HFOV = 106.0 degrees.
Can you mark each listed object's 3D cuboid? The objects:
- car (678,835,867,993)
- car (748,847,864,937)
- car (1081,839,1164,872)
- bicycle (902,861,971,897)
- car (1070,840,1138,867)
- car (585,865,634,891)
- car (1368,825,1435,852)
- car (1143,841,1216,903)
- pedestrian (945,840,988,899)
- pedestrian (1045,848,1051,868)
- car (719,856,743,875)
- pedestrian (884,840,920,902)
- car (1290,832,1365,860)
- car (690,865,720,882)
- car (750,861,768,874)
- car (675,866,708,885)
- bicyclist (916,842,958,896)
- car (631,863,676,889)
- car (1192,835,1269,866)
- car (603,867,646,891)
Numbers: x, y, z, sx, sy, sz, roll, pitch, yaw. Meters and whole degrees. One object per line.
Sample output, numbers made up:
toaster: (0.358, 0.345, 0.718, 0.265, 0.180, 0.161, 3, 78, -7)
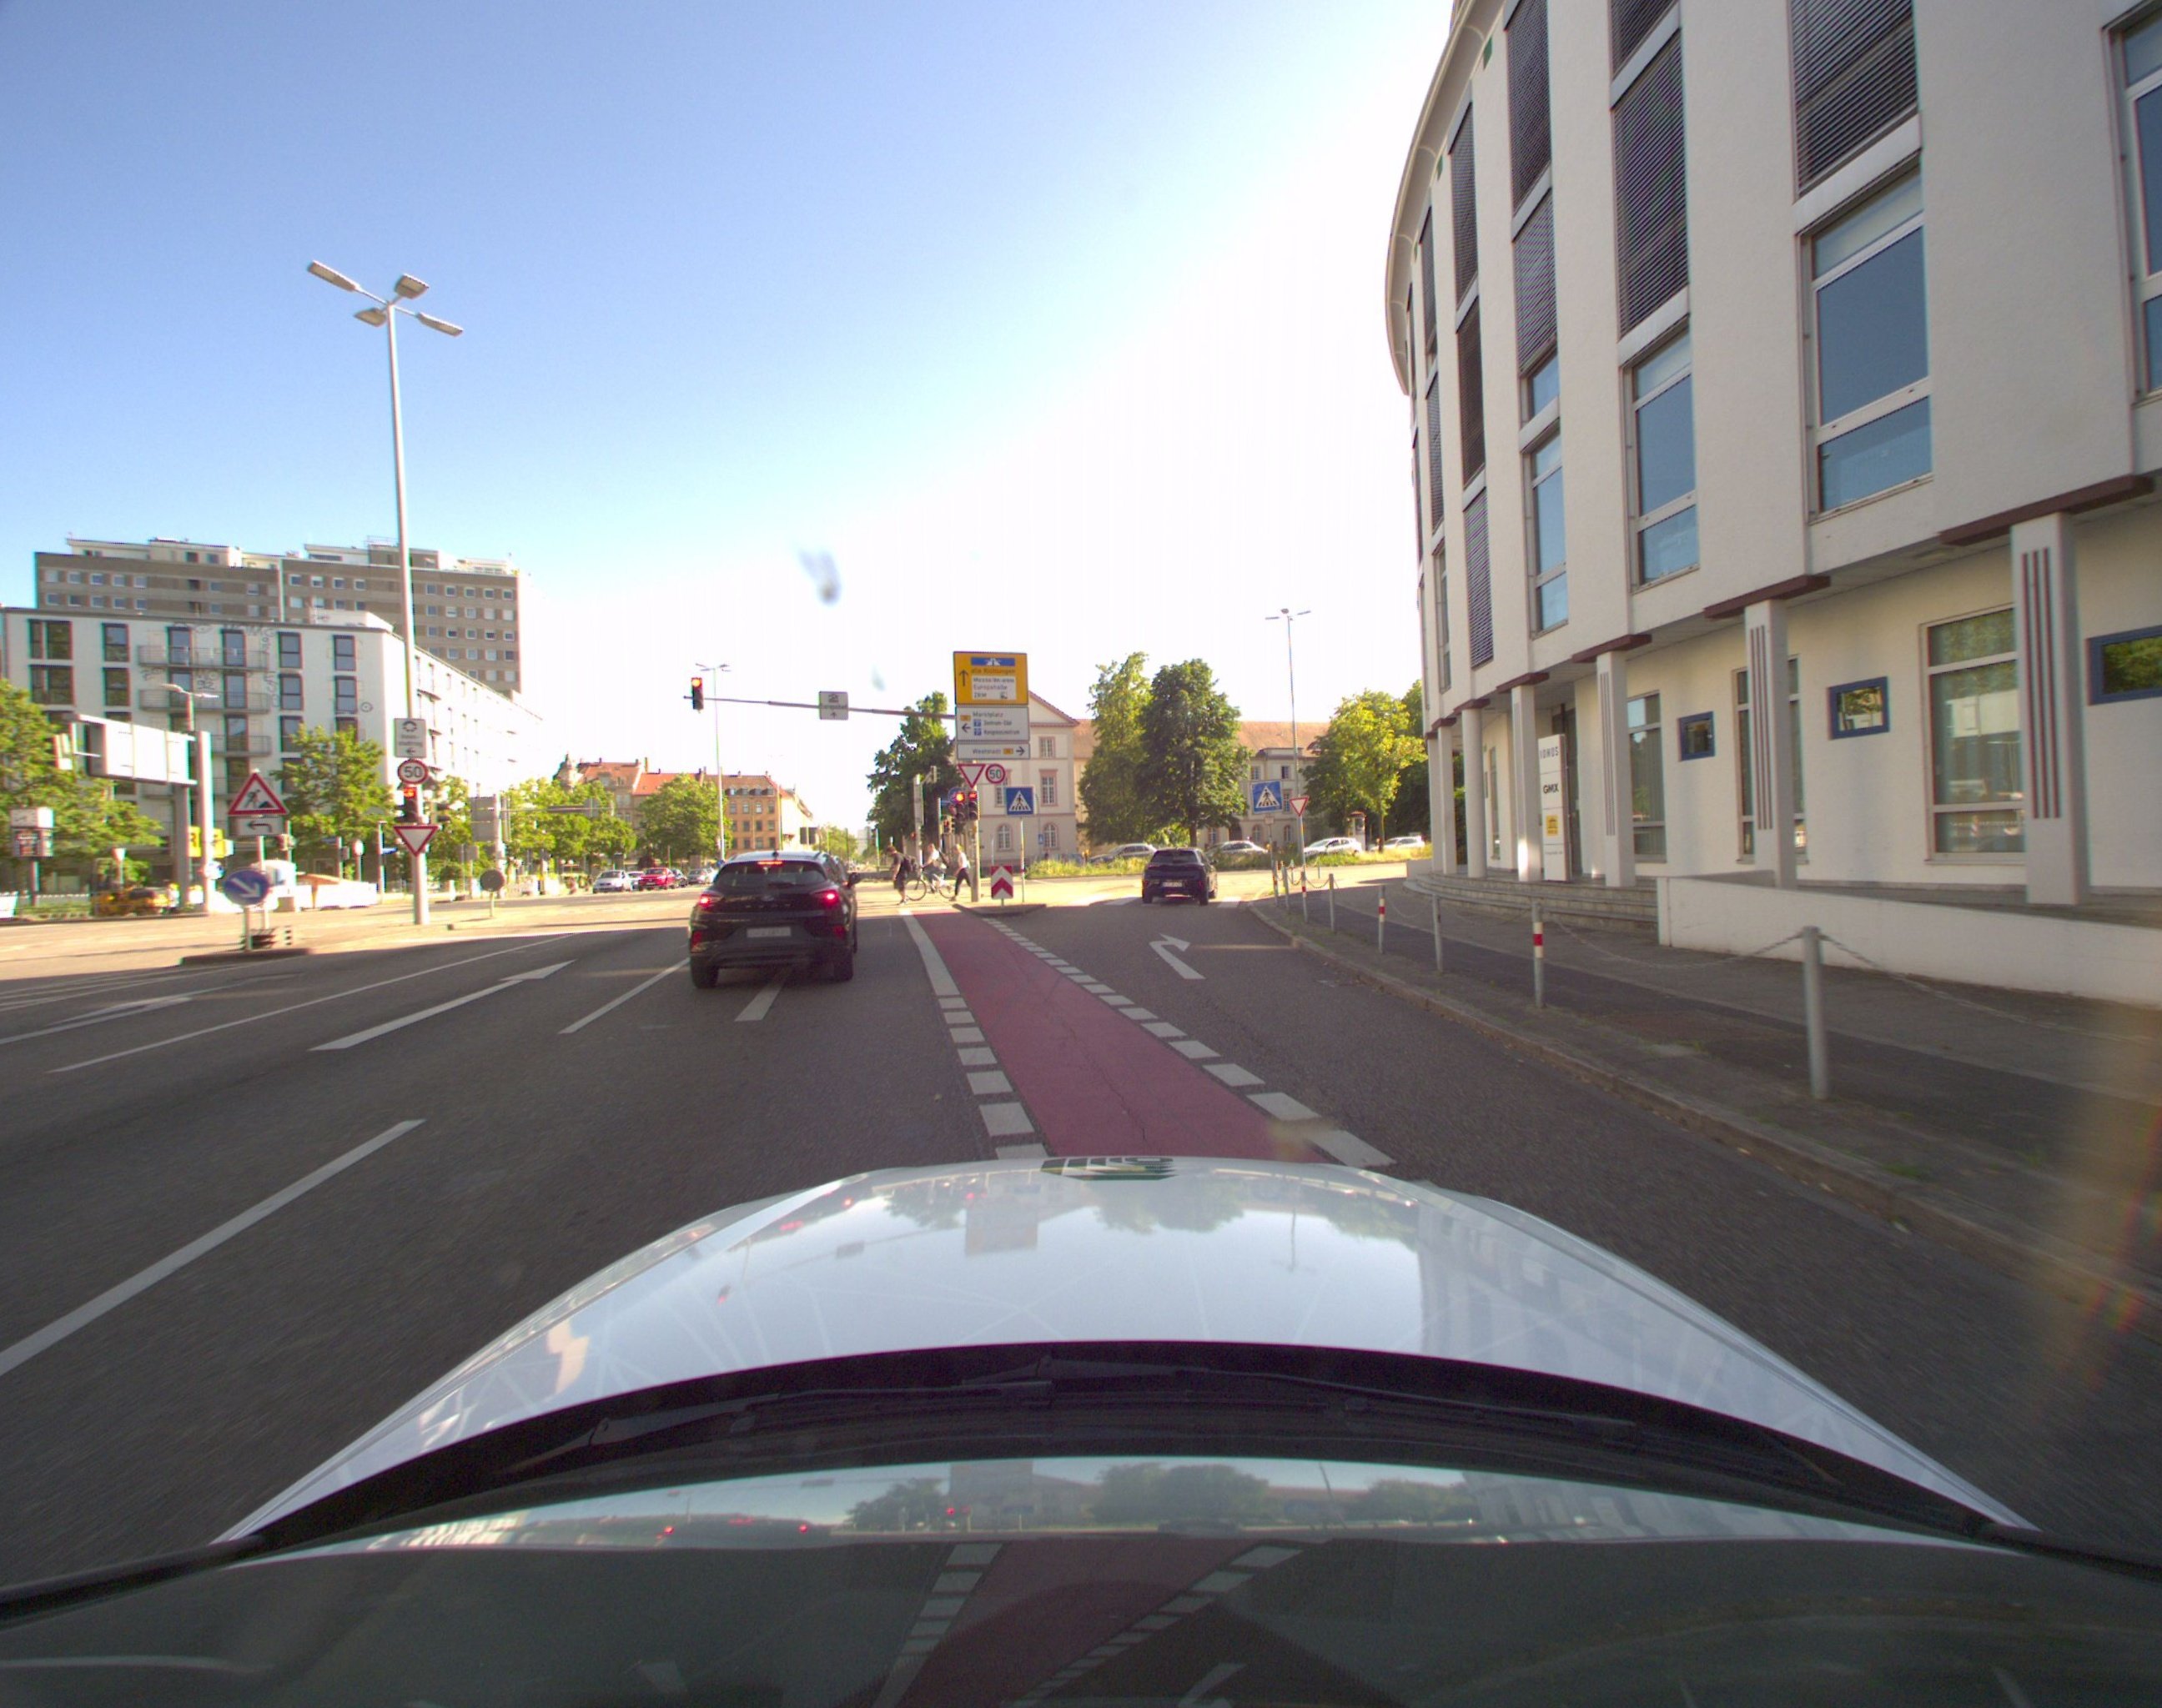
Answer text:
car: (-3.759, 0.617, 10.564, 1.833, 1.578, 3.820, -3, 1, -15)
car: (-5.257, 0.641, 16.023, 1.833, 1.452, 3.968, -3, 1, -15)
car: (2.276, 0.067, 44.604, 4.131, 1.601, 1.809, -3, 1, -22)
bicycle: (-4.510, 0.767, 25.477, 2.037, 1.061, 0.618, -2, 0, -18)
car: (1.536, -0.028, 54.688, 4.131, 1.601, 1.809, -3, 1, -22)
car: (-32.513, 1.616, 56.236, 1.878, 1.617, 3.979, -2, 1, -15)
car: (22.129, -1.078, 56.296, 4.000, 1.644, 1.910, -3, 1, -20)
car: (2.860, 0.444, 23.034, 1.734, 1.573, 3.570, -1, 1, 11)
pedestrian: (-3.380, 0.441, 24.064, 1.045, 1.659, 0.778, -3, 1, -21)
pedestrian: (-2.729, 0.313, 66.442, 0.440, 1.615, 0.466, 0, -1, -9)
car: (-40.278, 1.303, 93.793, 1.814, 2.134, 3.979, -2, 1, -15)
pedestrian: (-5.048, 0.471, 22.973, 0.829, 1.702, 0.911, -2, 0, -21)
car: (15.160, -0.509, 50.160, 4.191, 1.508, 1.809, -3, 1, -22)
car: (-35.636, 1.811, 77.333, 1.878, 1.448, 3.979, -2, 1, -15)
car: (-44.405, 1.860, 112.290, 1.814, 1.634, 3.979, -2, 1, -15)
car: (-33.871, 1.844, 70.914, 1.878, 1.448, 3.979, -2, 1, -15)
bicyclist: (-4.515, 0.466, 25.541, 1.168, 1.633, 0.725, -1, 0, -18)
car: (-28.959, 1.462, 55.253, 1.794, 1.617, 3.980, -2, 1, -15)
car: (8.712, -0.208, 47.504, 4.000, 1.644, 1.910, -3, 1, -20)
car: (-34.553, 1.841, 61.771, 1.878, 1.617, 3.979, -2, 1, -15)
